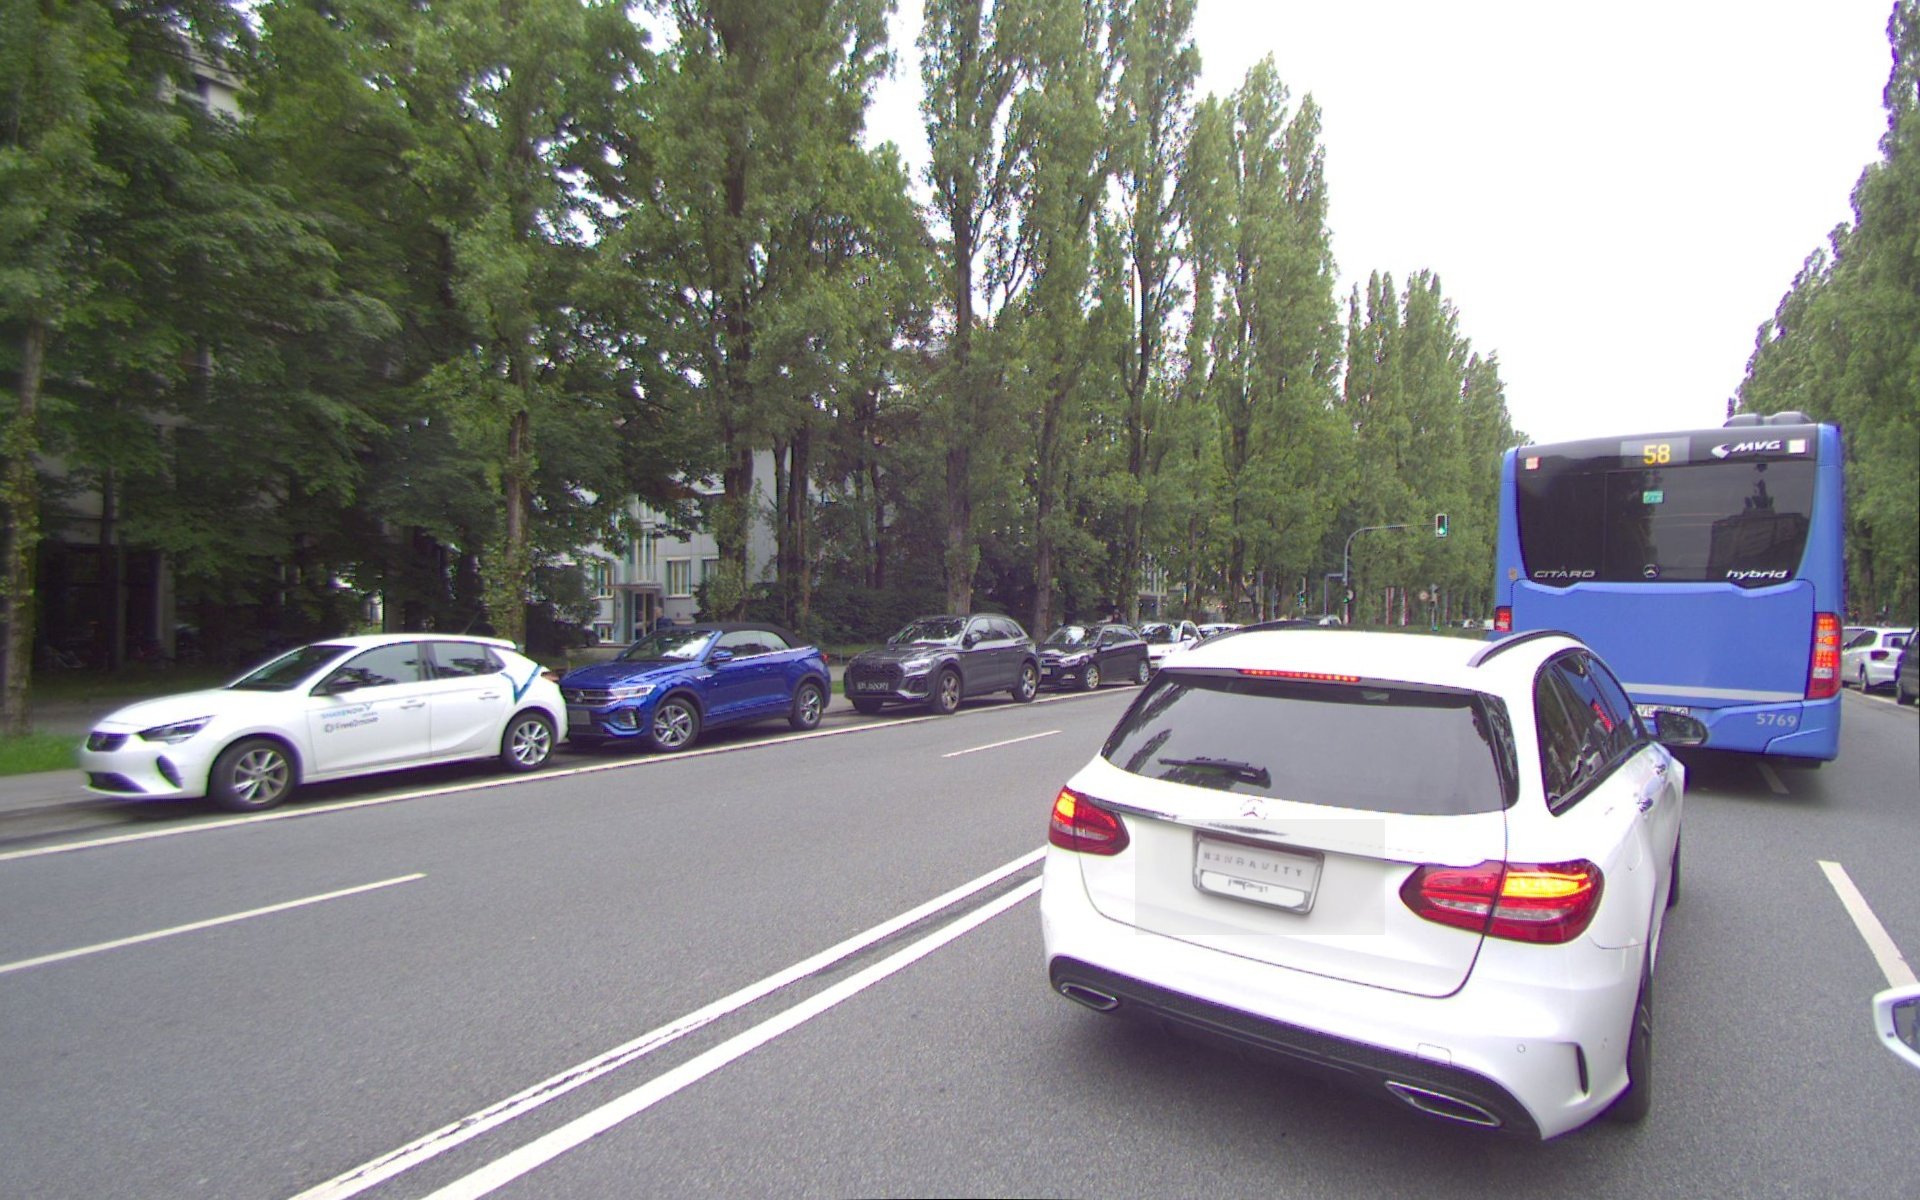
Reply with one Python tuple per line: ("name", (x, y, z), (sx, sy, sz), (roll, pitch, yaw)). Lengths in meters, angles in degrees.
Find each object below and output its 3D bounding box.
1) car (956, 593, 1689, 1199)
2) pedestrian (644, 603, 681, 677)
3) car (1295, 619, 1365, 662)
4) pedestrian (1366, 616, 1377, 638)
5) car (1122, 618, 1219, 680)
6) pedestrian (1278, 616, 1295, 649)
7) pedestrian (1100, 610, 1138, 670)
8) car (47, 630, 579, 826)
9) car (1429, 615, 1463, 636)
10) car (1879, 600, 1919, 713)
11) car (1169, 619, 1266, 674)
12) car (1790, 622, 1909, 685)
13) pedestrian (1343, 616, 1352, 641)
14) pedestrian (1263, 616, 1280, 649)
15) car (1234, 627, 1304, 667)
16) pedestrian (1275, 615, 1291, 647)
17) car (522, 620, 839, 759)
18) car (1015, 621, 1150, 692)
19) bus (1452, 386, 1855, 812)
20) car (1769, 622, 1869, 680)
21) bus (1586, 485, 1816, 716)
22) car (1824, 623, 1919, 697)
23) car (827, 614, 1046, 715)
("car", (2.074, 0.768, 4.448), (1.802, 1.474, 4.565), (1, 0, 37))
("pedestrian", (-7.230, 0.961, 24.392), (0.591, 1.762, 0.638), (0, -1, 34))
("car", (14.559, 1.532, 39.369), (1.684, 1.572, 3.988), (0, -1, 34))
("pedestrian", (37.687, 2.464, 91.966), (0.818, 2.040, 0.776), (0, -1, 31))
("car", (5.748, 1.277, 27.200), (1.391, 1.572, 3.434), (0, -1, 34))
("pedestrian", (20.327, 2.025, 62.497), (0.818, 2.040, 0.776), (0, -1, 32))
("pedestrian", (4.858, 1.202, 30.649), (0.810, 1.787, 1.078), (0, -1, 31))
("car", (-5.902, 1.040, 9.666), (1.662, 1.431, 3.994), (-2, -2, 32))
("car", (36.004, 1.869, 74.300), (1.796, 1.506, 3.989), (0, -1, 33))
("car", (17.415, 0.962, 17.376), (1.681, 1.860, 3.987), (1, 0, 35))
("car", (7.860, 1.356, 30.425), (1.684, 1.568, 3.990), (-1, -1, 32))
("car", (23.667, 1.360, 26.878), (1.761, 1.511, 3.990), (0, -1, 33))
("pedestrian", (31.541, 2.312, 81.787), (0.609, 2.040, 0.606), (0, -1, 33))
("pedestrian", (19.466, 2.017, 62.793), (0.818, 2.040, 0.776), (0, -1, 32))
("car", (10.876, 1.607, 35.195), (1.272, 1.290, 3.837), (0, -1, 34))
("pedestrian", (17.948, 1.720, 55.845), (0.693, 1.759, 0.807), (0, -1, 33))
("car", (-3.509, 1.059, 13.397), (1.717, 1.539, 4.112), (-2, -2, 28))
("car", (2.878, 1.243, 22.923), (1.518, 1.452, 3.859), (-4, -3, 32))
("bus", (8.582, 0.048, 12.083), (2.821, 3.256, 9.018), (0, 0, 39))
("car", (26.527, 1.505, 31.157), (1.783, 1.639, 3.990), (0, -1, 32))
("bus", (14.318, 0.087, 19.287), (2.837, 3.348, 9.748), (0, -1, 38))
("car", (20.930, 1.290, 22.537), (1.773, 1.495, 3.990), (0, -1, 32))
("car", (-0.273, 1.087, 17.863), (1.766, 1.568, 4.327), (-4, -3, 32))
